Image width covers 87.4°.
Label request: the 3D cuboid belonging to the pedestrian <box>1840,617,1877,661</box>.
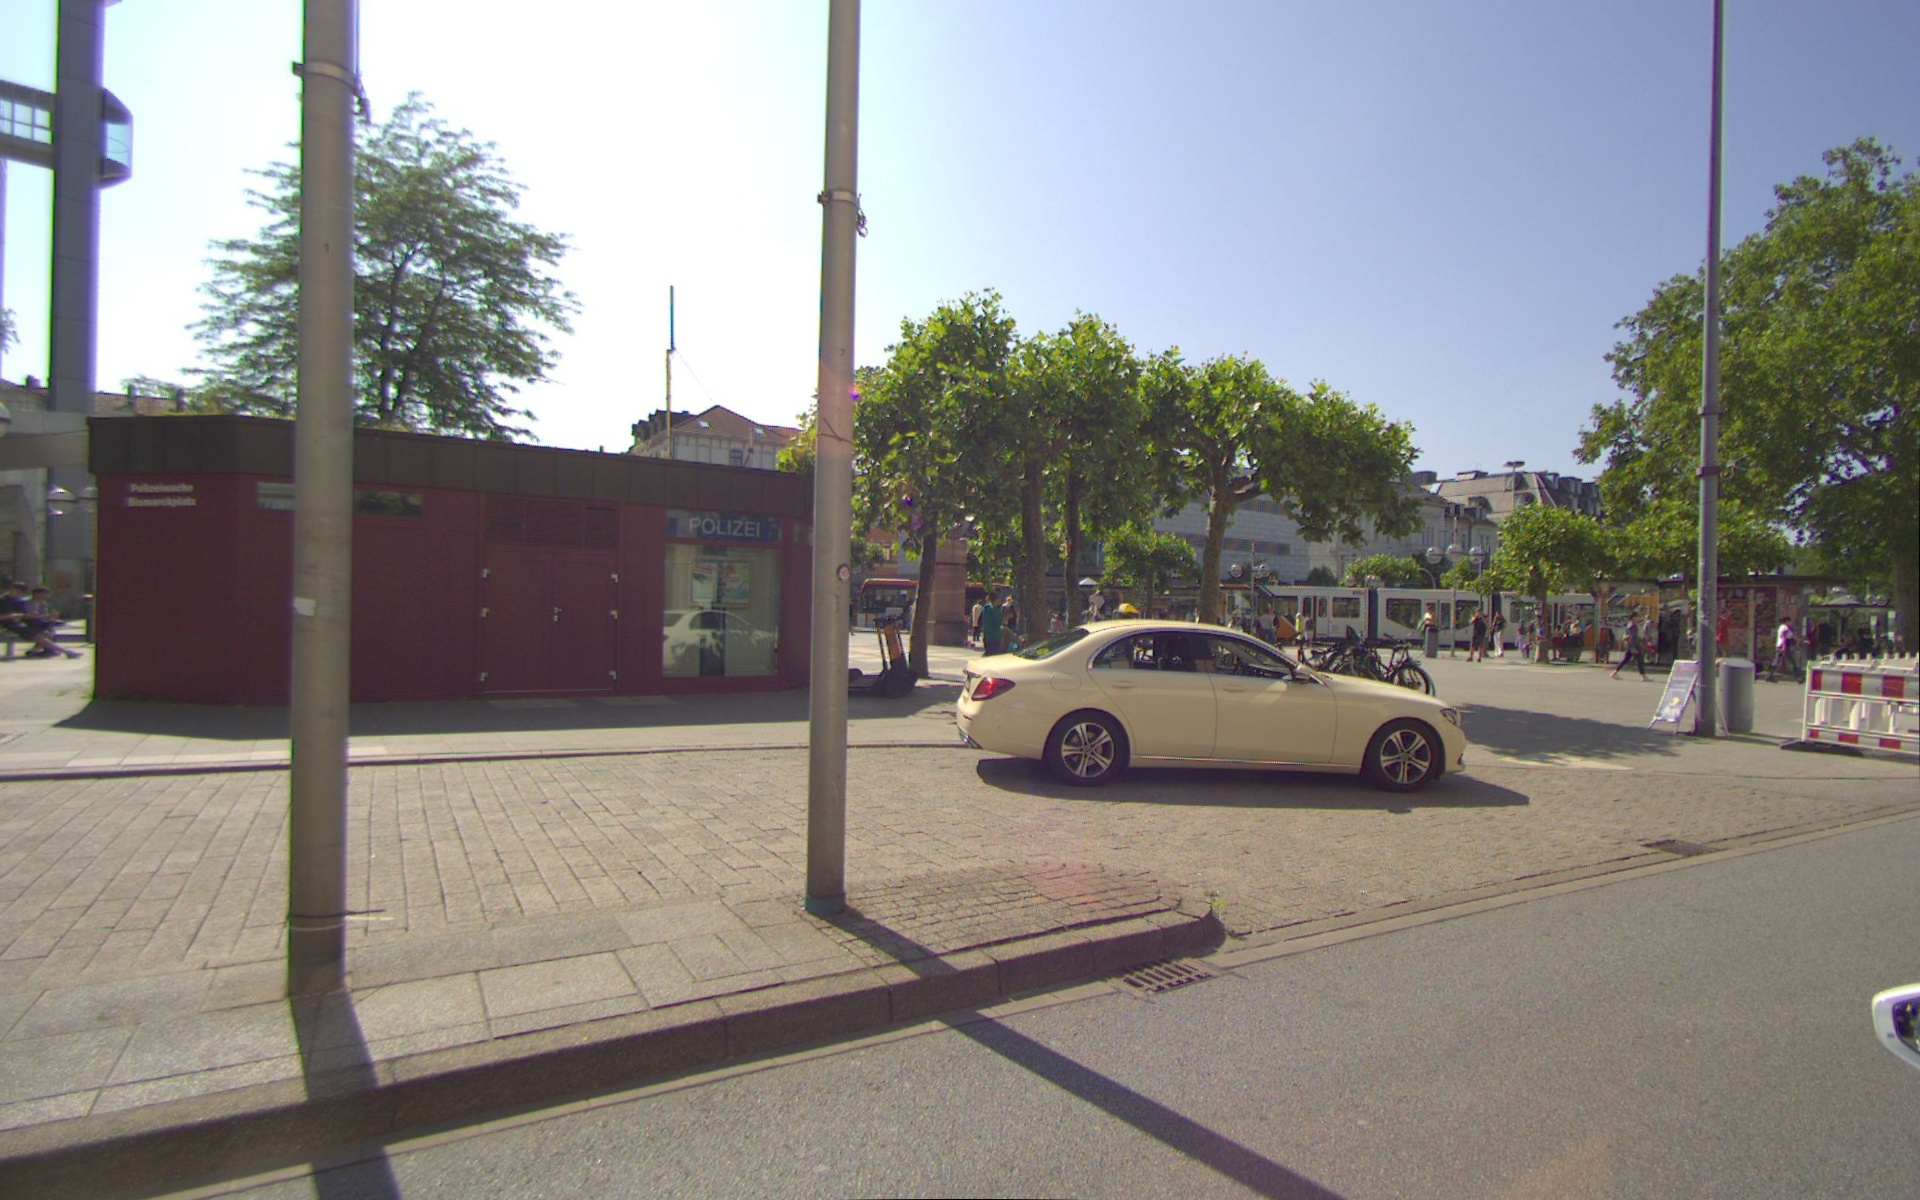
[{"bbox_3d":[30.992,1.338,34.661,0.718,1.498,0.633,2,0,-9],"label":"pedestrian"}]

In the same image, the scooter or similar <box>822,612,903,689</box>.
[{"bbox_3d":[-1.588,0.830,16.441,1.280,1.230,0.233,1,0,-11],"label":"scooter or similar"}]

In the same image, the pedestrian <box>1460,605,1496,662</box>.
[{"bbox_3d":[16.514,1.063,32.039,0.788,1.773,0.606,2,1,1],"label":"pedestrian"}]

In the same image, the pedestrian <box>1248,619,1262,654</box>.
[{"bbox_3d":[15.212,1.868,51.777,0.594,1.772,0.747,1,0,9],"label":"pedestrian"}]

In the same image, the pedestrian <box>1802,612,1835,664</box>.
[{"bbox_3d":[30.654,1.372,35.861,0.604,1.833,0.634,2,-3,-10],"label":"pedestrian"}]

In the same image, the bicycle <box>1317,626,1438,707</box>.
[{"bbox_3d":[6.819,1.058,16.507,0.656,1.201,1.771,1,0,-32],"label":"bicycle"}]

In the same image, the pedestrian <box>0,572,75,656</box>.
[{"bbox_3d":[-16.108,0.227,17.173,1.295,1.404,0.850,1,0,-31],"label":"pedestrian"}]

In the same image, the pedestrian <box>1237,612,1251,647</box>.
[{"bbox_3d":[14.973,1.548,52.945,0.594,1.772,0.747,1,0,9],"label":"pedestrian"}]

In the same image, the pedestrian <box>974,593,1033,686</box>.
[{"bbox_3d":[0.785,0.692,18.137,0.668,1.627,0.795,1,1,-43],"label":"pedestrian"}]

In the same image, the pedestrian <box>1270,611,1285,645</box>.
[{"bbox_3d":[16.667,1.447,52.726,0.594,1.772,0.747,1,0,9],"label":"pedestrian"}]

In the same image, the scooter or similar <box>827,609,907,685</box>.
[{"bbox_3d":[-1.543,0.787,16.694,1.280,1.230,0.233,1,0,-11],"label":"scooter or similar"}]

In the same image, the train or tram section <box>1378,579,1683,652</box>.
[{"bbox_3d":[32.118,0.854,57.121,15.233,3.726,2.623,1,0,6],"label":"train or tram section"}]

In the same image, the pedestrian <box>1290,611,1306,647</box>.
[{"bbox_3d":[16.978,1.443,50.457,0.594,1.772,0.747,1,0,9],"label":"pedestrian"}]

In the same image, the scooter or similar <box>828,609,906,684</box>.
[{"bbox_3d":[-1.571,0.788,16.951,1.280,1.230,0.264,1,0,-11],"label":"scooter or similar"}]

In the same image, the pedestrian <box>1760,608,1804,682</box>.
[{"bbox_3d":[20.209,1.104,24.685,0.598,1.762,0.574,2,1,-24],"label":"pedestrian"}]

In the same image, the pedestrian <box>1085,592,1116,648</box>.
[{"bbox_3d":[4.653,0.661,33.286,0.600,1.822,0.795,2,1,-36],"label":"pedestrian"}]

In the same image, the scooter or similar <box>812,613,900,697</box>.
[{"bbox_3d":[-1.578,0.835,15.192,1.280,1.230,0.233,1,0,-11],"label":"scooter or similar"}]

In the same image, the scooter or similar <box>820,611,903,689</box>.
[{"bbox_3d":[-1.584,0.805,16.180,1.280,1.230,0.233,1,0,-11],"label":"scooter or similar"}]

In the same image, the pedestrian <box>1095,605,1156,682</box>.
[{"bbox_3d":[3.122,0.815,18.980,0.884,1.400,0.670,1,0,-21],"label":"pedestrian"}]

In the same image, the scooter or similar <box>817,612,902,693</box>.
[{"bbox_3d":[-1.562,0.815,15.687,1.280,1.230,0.233,1,0,-11],"label":"scooter or similar"}]

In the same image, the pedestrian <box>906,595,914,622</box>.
[{"bbox_3d":[-3.224,0.542,64.720,0.435,1.695,0.450,1,0,5],"label":"pedestrian"}]

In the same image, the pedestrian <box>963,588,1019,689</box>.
[{"bbox_3d":[0.533,0.645,17.428,0.681,1.700,0.666,1,1,-38],"label":"pedestrian"}]

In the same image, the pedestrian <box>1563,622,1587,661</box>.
[{"bbox_3d":[20.605,1.392,33.673,0.602,1.279,0.610,1,0,38],"label":"pedestrian"}]

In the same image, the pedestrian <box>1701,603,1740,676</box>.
[{"bbox_3d":[20.258,1.041,26.762,0.651,1.904,0.631,2,1,25],"label":"pedestrian"}]

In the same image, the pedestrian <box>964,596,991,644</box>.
[{"bbox_3d":[0.657,0.755,37.955,0.600,1.773,0.796,2,1,-35],"label":"pedestrian"}]

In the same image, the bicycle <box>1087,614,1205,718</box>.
[{"bbox_3d":[2.585,0.890,14.152,0.556,1.326,1.771,1,0,-32],"label":"bicycle"}]

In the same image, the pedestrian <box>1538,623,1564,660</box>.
[{"bbox_3d":[20.707,1.446,35.205,0.600,1.279,0.611,1,0,16],"label":"pedestrian"}]

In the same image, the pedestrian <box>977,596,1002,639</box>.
[{"bbox_3d":[1.174,0.714,40.417,0.600,1.688,0.796,2,1,-35],"label":"pedestrian"}]

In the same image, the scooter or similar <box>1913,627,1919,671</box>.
[{"bbox_3d":[32.282,1.632,32.855,1.018,1.439,1.281,1,0,1],"label":"scooter or similar"}]

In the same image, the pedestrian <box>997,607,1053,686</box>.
[{"bbox_3d":[1.141,0.798,17.647,0.663,1.326,0.683,2,1,43],"label":"pedestrian"}]

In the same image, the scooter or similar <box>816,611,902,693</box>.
[{"bbox_3d":[-1.552,0.807,15.449,1.280,1.230,0.233,1,0,-11],"label":"scooter or similar"}]

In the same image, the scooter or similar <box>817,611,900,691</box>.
[{"bbox_3d":[-1.607,0.810,15.926,1.280,1.230,0.233,1,0,-11],"label":"scooter or similar"}]

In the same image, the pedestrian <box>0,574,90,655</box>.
[{"bbox_3d":[-16.496,0.259,17.977,1.245,1.404,0.850,1,0,-30],"label":"pedestrian"}]

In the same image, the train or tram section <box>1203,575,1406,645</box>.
[{"bbox_3d":[19.844,0.570,58.345,10.779,3.726,2.623,1,0,5],"label":"train or tram section"}]

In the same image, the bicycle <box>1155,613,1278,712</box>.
[{"bbox_3d":[3.722,0.869,14.729,0.656,1.326,1.771,1,0,-32],"label":"bicycle"}]

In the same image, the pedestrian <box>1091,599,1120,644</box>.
[{"bbox_3d":[5.194,0.760,35.883,0.600,1.582,0.796,2,1,-35],"label":"pedestrian"}]

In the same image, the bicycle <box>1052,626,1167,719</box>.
[{"bbox_3d":[2.044,0.970,13.962,0.556,1.147,1.771,1,0,-32],"label":"bicycle"}]

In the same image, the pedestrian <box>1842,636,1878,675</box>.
[{"bbox_3d":[31.627,1.946,35.298,0.718,1.310,0.633,2,0,-9],"label":"pedestrian"}]

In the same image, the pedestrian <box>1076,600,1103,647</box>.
[{"bbox_3d":[4.991,0.902,38.702,0.600,1.773,0.796,2,1,-35],"label":"pedestrian"}]

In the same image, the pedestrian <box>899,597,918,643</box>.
[{"bbox_3d":[-2.019,0.787,39.268,0.498,1.773,0.540,2,1,-35],"label":"pedestrian"}]

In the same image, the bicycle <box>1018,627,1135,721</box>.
[{"bbox_3d":[1.534,0.956,13.481,0.556,1.120,1.771,1,0,-32],"label":"bicycle"}]

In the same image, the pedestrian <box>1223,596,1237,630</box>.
[{"bbox_3d":[14.103,0.662,52.386,0.594,1.772,0.747,1,0,9],"label":"pedestrian"}]

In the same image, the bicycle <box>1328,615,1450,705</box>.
[{"bbox_3d":[7.290,0.986,17.135,0.733,1.366,1.771,1,1,-32],"label":"bicycle"}]

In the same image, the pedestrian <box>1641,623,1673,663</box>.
[{"bbox_3d":[22.793,1.412,32.863,0.599,1.279,0.612,1,0,-4],"label":"pedestrian"}]

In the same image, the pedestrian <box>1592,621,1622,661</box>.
[{"bbox_3d":[21.230,1.339,32.945,0.599,1.279,0.613,1,0,6],"label":"pedestrian"}]

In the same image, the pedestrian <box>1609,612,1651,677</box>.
[{"bbox_3d":[16.258,1.076,24.383,0.598,1.553,0.574,2,1,-24],"label":"pedestrian"}]

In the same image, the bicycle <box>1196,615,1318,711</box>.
[{"bbox_3d":[4.481,0.922,15.260,0.656,1.326,1.771,1,0,-32],"label":"bicycle"}]

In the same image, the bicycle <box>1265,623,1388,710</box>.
[{"bbox_3d":[5.736,1.011,15.822,0.656,1.231,1.771,1,0,-32],"label":"bicycle"}]

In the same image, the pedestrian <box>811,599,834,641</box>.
[{"bbox_3d":[-5.505,0.799,40.219,0.566,1.660,0.603,3,1,41],"label":"pedestrian"}]

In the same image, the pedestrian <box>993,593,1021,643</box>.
[{"bbox_3d":[1.704,0.655,36.622,0.600,1.773,0.796,2,1,-35],"label":"pedestrian"}]

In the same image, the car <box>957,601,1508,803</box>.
[{"bbox_3d":[2.417,0.904,9.757,4.768,1.562,1.896,3,0,-3],"label":"car"}]

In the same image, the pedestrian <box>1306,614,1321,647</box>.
[{"bbox_3d":[18.865,1.617,53.652,0.594,1.772,0.804,1,0,9],"label":"pedestrian"}]
